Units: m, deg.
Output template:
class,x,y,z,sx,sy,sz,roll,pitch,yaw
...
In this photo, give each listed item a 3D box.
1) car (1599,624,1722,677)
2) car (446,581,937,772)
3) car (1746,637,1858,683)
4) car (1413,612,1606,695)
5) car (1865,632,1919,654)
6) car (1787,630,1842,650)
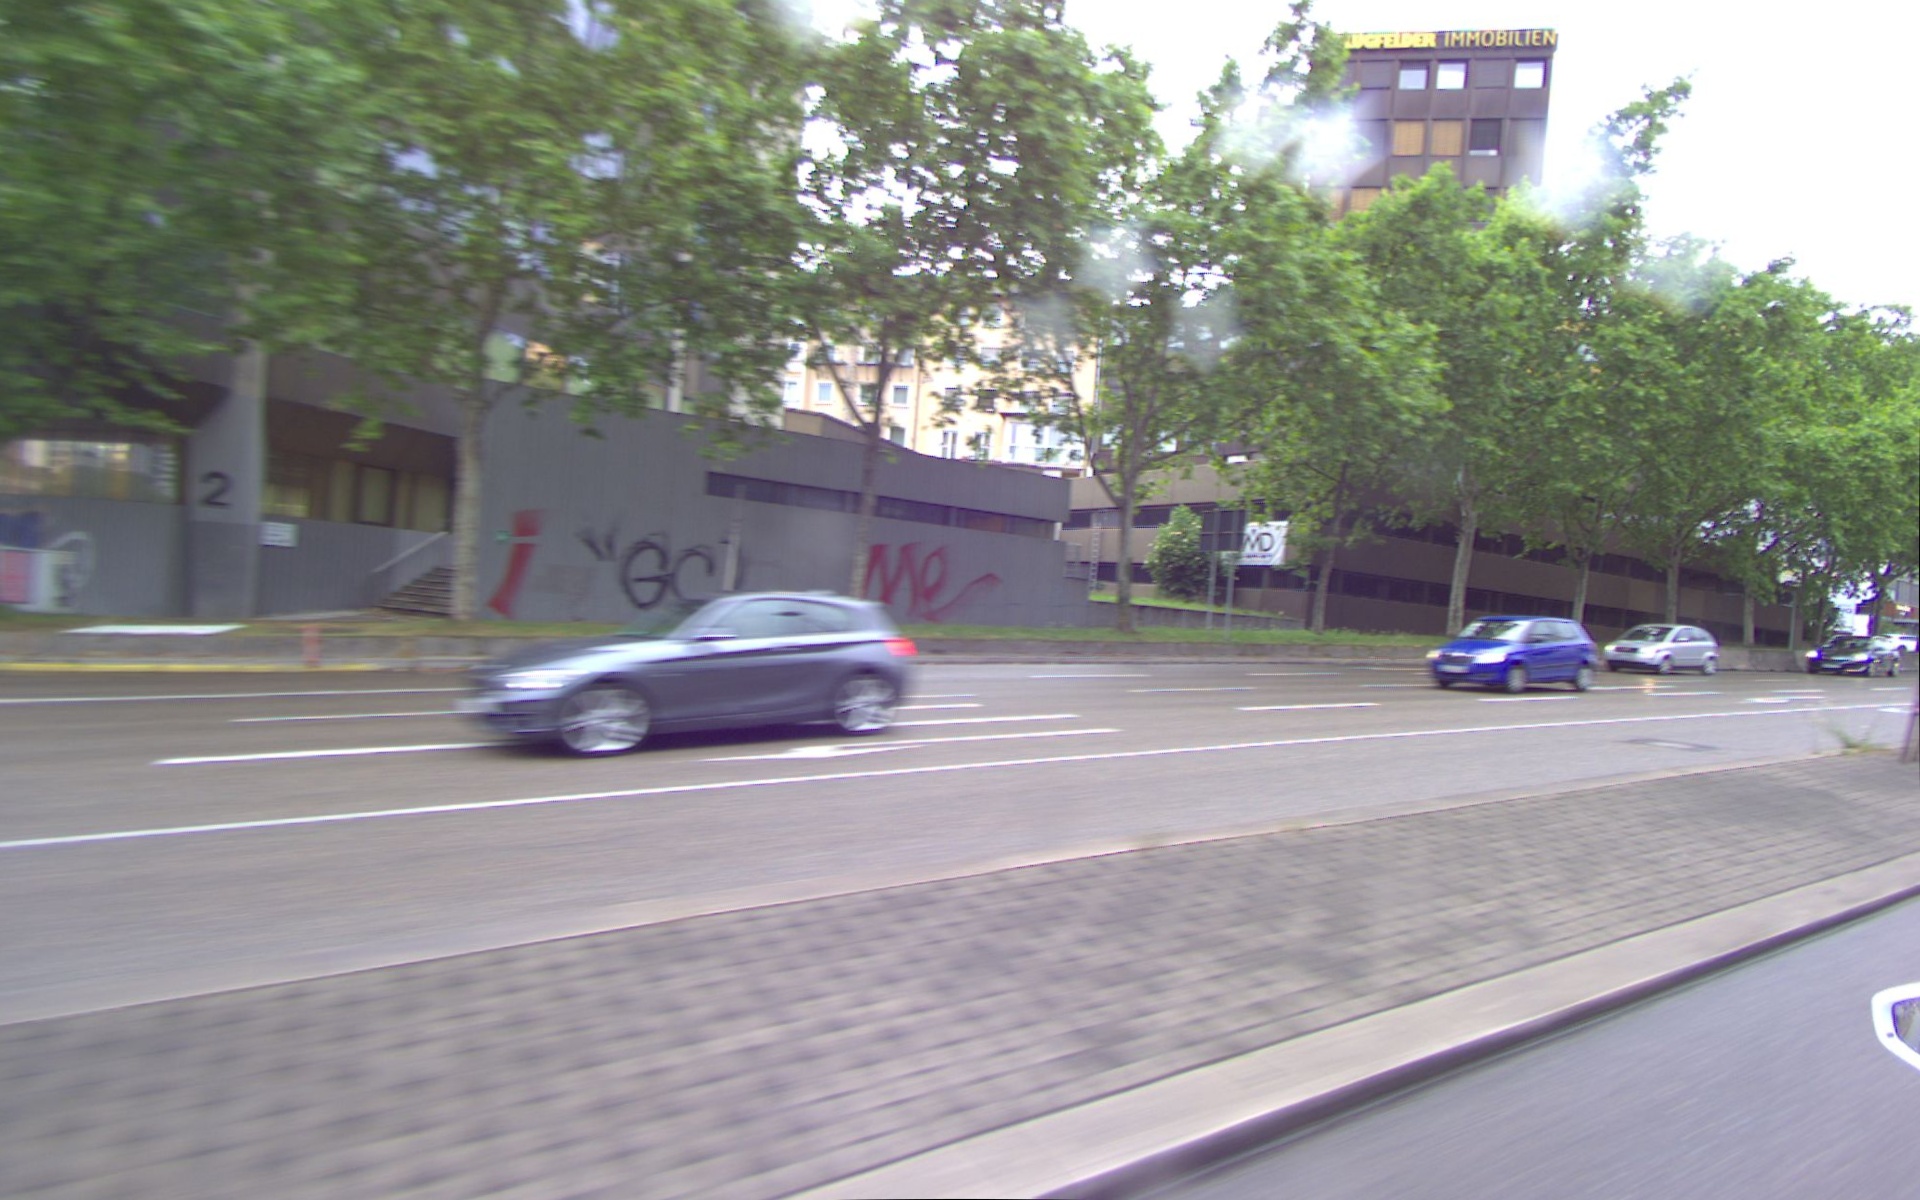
class,x,y,z,sx,sy,sz,roll,pitch,yaw
car,22.017,1.571,31.554,3.708,1.511,1.592,2,1,-27
car,-2.445,0.597,9.821,4.306,1.468,1.791,1,0,-42
car,29.759,2.104,35.458,4.676,1.466,1.733,2,0,-34
car,11.141,1.044,20.317,4.021,1.493,1.600,2,0,-31
car,72.431,3.317,76.840,4.485,1.530,1.827,3,-1,7
car,68.895,3.253,81.042,3.127,1.445,1.279,2,-1,14
